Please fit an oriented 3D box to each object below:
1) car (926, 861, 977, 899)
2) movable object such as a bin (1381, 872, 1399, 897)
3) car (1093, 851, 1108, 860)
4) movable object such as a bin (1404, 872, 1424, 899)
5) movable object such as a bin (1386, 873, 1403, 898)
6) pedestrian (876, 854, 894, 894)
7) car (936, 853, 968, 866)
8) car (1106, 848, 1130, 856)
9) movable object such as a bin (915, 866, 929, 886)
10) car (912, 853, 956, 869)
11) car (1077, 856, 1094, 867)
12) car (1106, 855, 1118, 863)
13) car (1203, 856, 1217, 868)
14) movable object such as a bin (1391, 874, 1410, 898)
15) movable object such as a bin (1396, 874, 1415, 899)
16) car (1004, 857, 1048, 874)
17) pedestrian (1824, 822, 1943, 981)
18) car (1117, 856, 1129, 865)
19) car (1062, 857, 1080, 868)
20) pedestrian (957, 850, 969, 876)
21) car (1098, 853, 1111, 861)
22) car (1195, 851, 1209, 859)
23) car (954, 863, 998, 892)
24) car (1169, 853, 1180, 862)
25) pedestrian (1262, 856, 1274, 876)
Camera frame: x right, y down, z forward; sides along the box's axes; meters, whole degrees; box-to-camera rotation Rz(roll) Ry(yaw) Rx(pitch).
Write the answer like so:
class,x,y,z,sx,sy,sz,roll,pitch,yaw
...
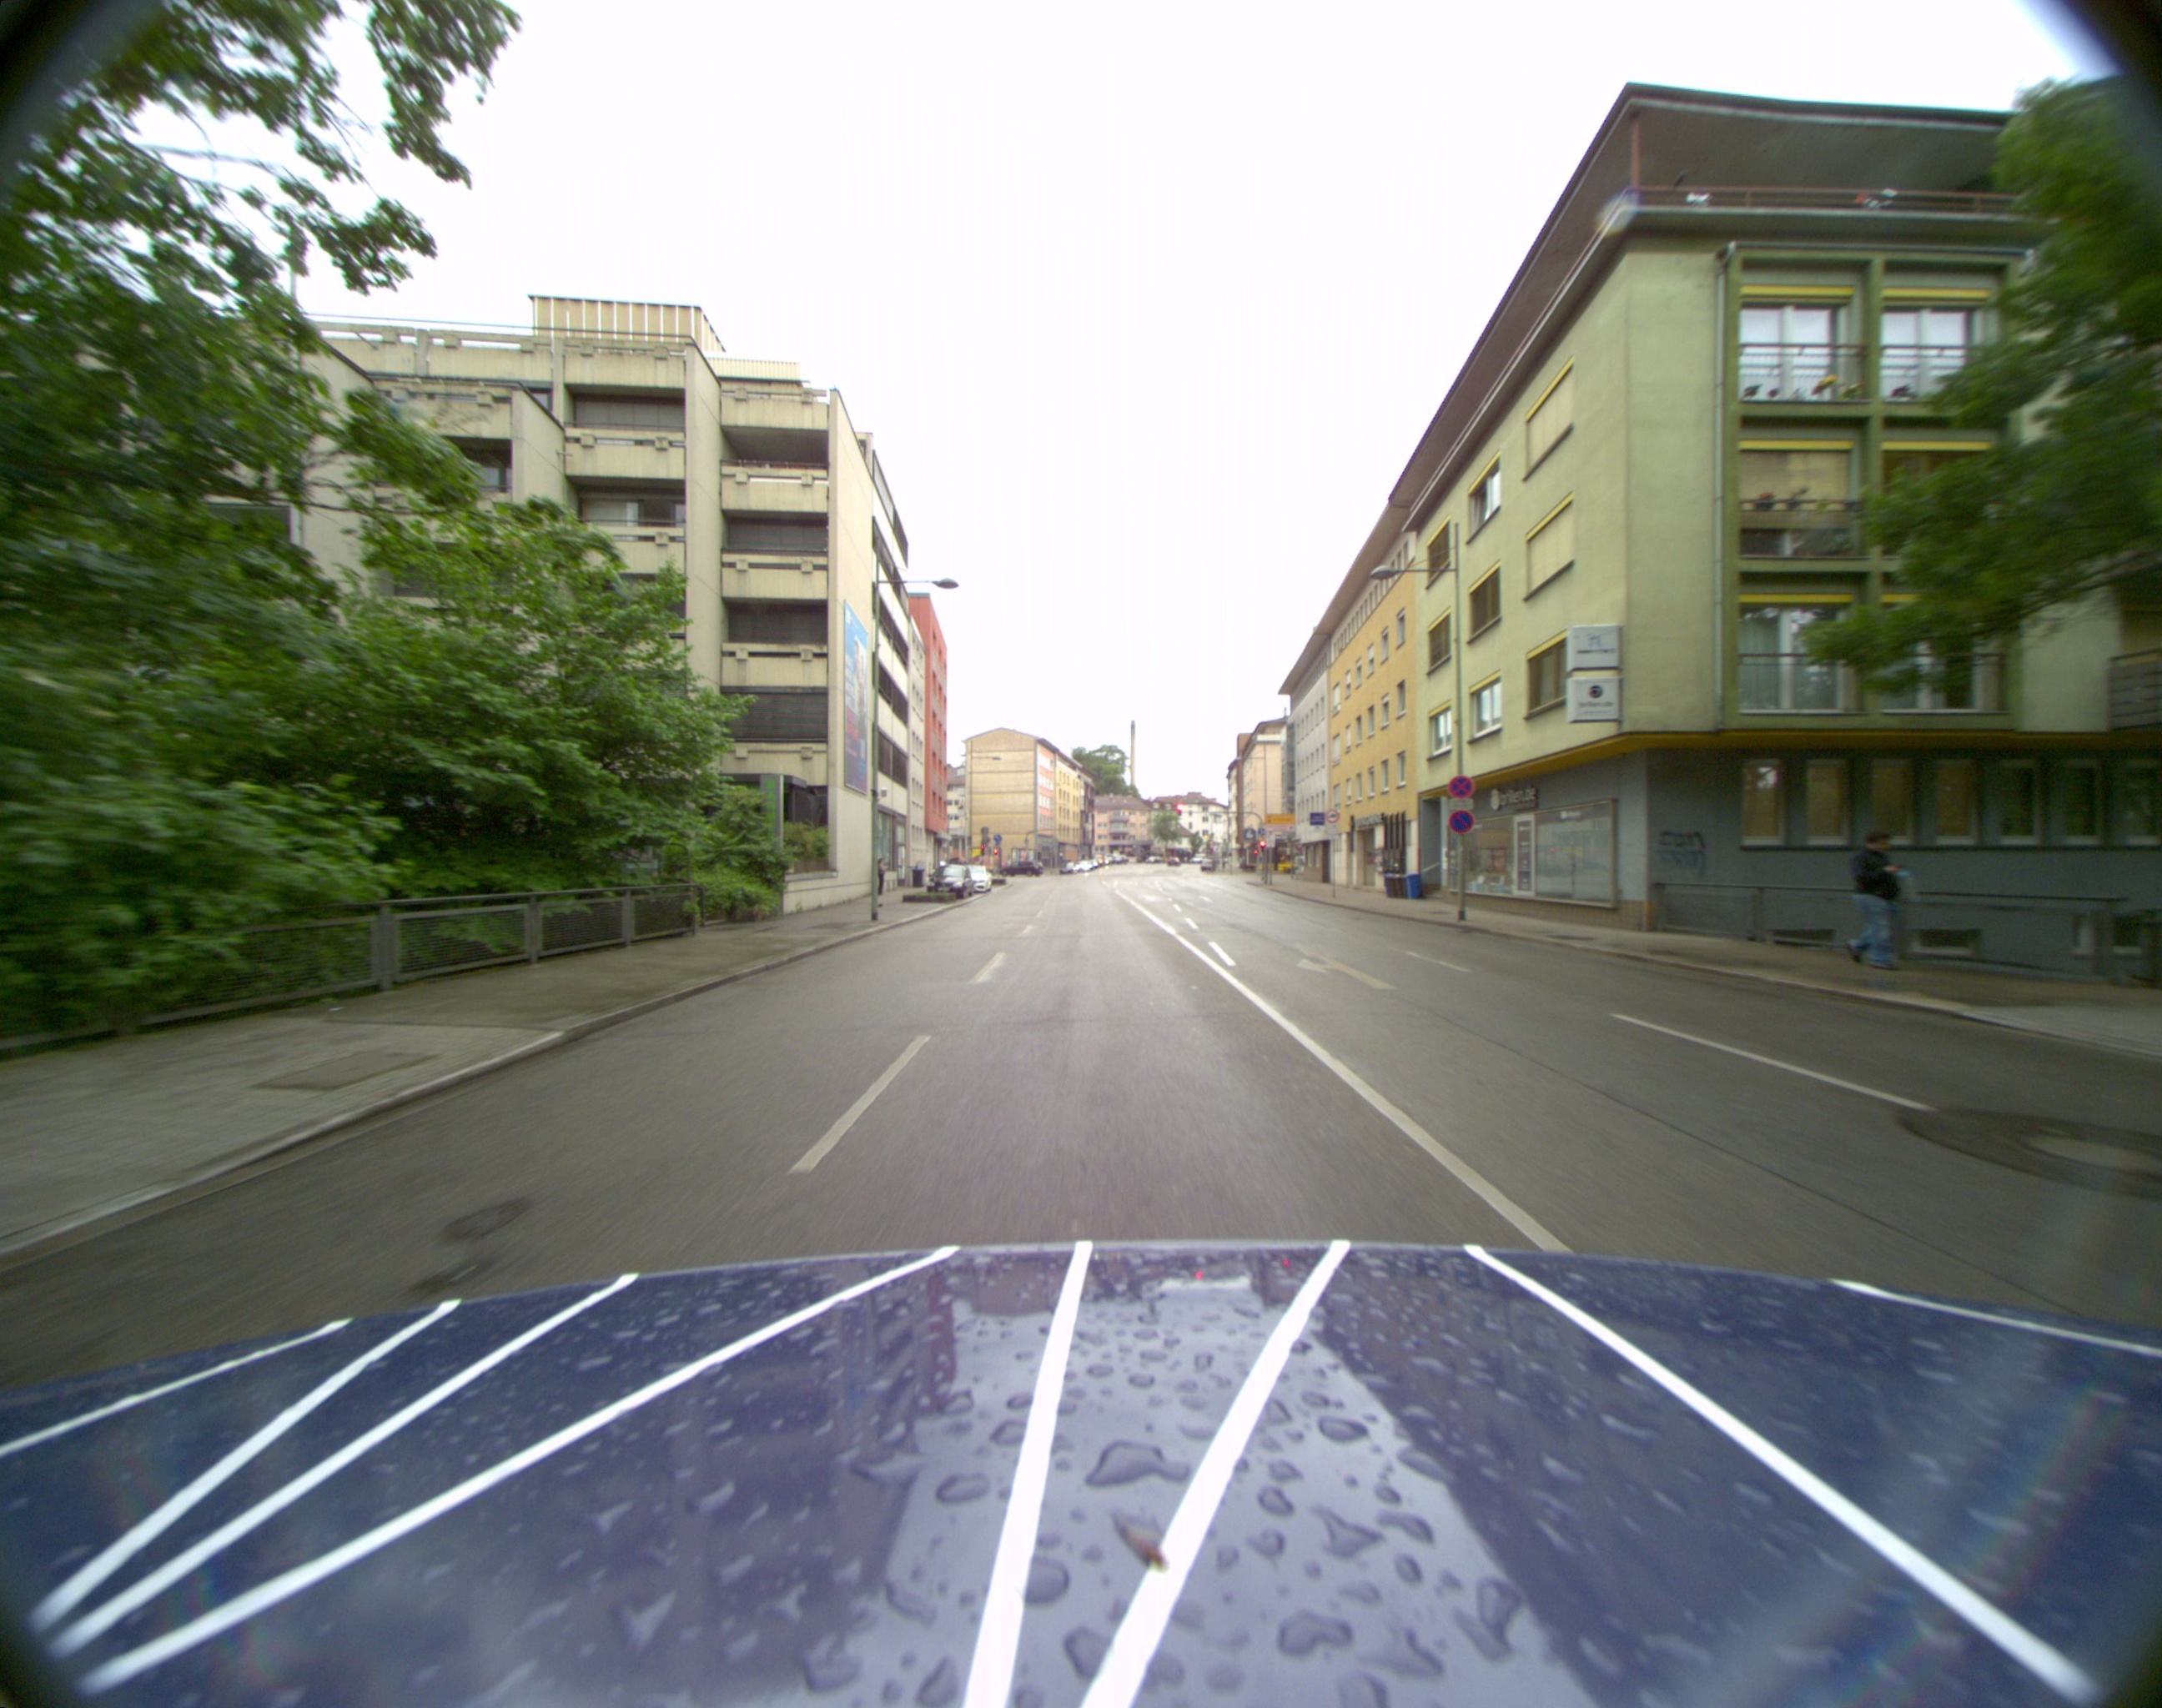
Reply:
class,x,y,z,sx,sy,sz,roll,pitch,yaw
car,-5.733,1.131,34.111,1.706,1.549,3.804,1,0,-2
movable object such as a bin,12.618,1.242,31.041,0.517,0.994,0.524,-4,0,7
car,3.112,0.242,120.281,1.736,1.389,3.744,0,0,10
movable object such as a bin,12.630,1.200,28.802,0.529,0.955,0.435,-4,0,7
movable object such as a bin,12.484,1.251,30.296,0.465,0.922,0.428,-4,0,7
pedestrian,-8.427,0.852,32.664,0.599,1.650,0.691,3,0,-7
car,-17.228,0.684,101.477,3.783,1.701,1.842,0,0,19
car,7.331,-0.338,152.779,2.038,1.521,4.894,0,0,-40
movable object such as a bin,-9.033,1.232,43.172,0.681,1.097,0.514,0,0,-2
car,-15.152,0.766,78.313,3.992,1.612,1.839,0,0,16
car,0.636,0.992,101.221,1.736,1.389,3.744,0,0,8
car,5.401,0.813,133.162,1.736,1.389,3.743,0,0,7
car,17.279,1.013,101.810,1.834,1.612,4.003,0,0,10
movable object such as a bin,12.528,1.253,29.786,0.529,0.922,0.426,-4,0,7
movable object such as a bin,12.516,1.245,29.325,0.529,0.890,0.435,-4,0,7
car,-5.508,1.162,75.773,3.990,1.674,1.883,0,0,26
pedestrian,10.503,0.605,9.979,0.752,2.002,0.782,0,0,7
car,7.653,1.194,139.415,1.670,1.761,4.004,1,0,11
car,-1.224,1.052,93.320,1.736,1.389,3.744,0,0,8
pedestrian,-9.894,0.776,63.612,0.806,2.140,0.737,0,0,-24
car,3.976,0.476,125.667,1.736,1.389,3.744,0,0,8
car,26.958,0.208,169.351,2.014,1.754,4.771,1,0,23
car,-5.583,1.196,40.813,1.835,1.412,4.569,1,0,-2
car,16.171,0.572,131.050,1.748,1.586,4.002,0,0,7
pedestrian,15.152,0.997,61.504,0.785,1.578,0.674,-2,0,21
